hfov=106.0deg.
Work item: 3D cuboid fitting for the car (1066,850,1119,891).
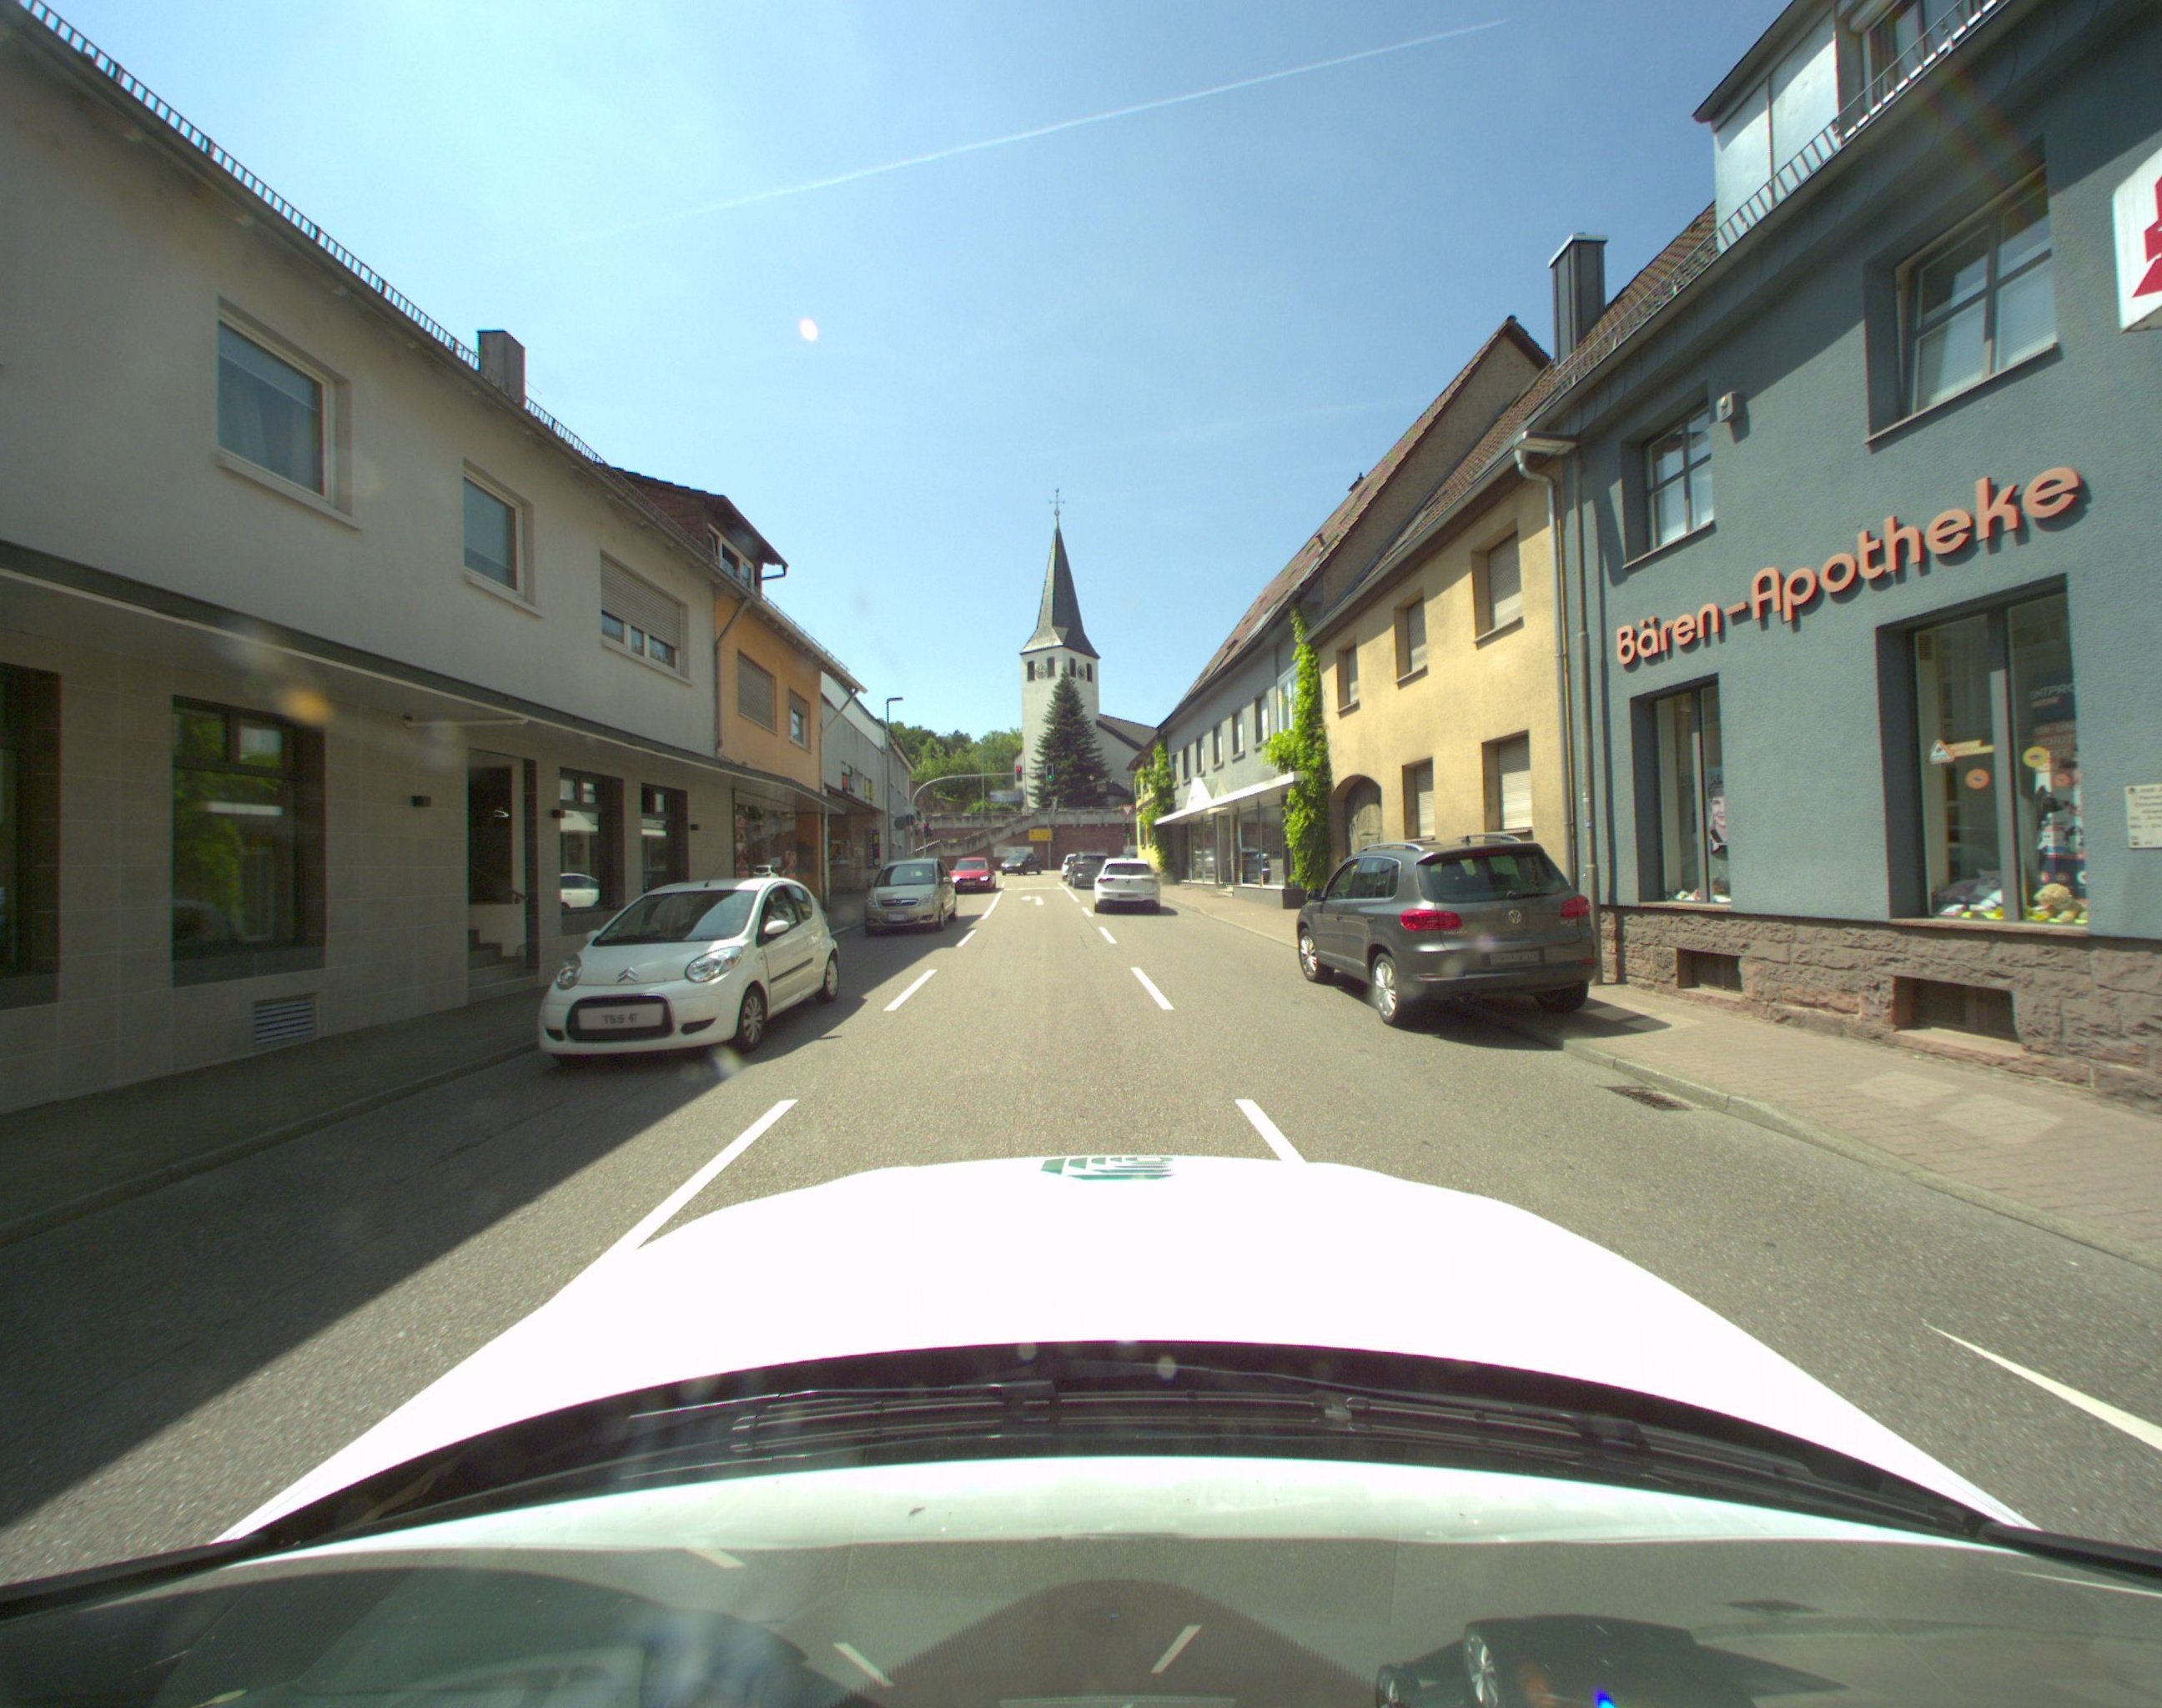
[{"bbox_3d":[0.446,0.686,36.597,1.946,1.582,4.319,-1,2,-5],"label":"car"}]

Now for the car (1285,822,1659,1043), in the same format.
[{"bbox_3d":[3.735,0.655,8.757,1.987,1.708,4.100,-3,0,0],"label":"car"}]

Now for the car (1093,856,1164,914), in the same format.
[{"bbox_3d":[1.251,0.795,22.747,1.776,1.458,3.864,-1,0,1],"label":"car"}]

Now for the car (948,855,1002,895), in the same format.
[{"bbox_3d":[-4.424,0.842,34.624,1.713,1.408,4.283,-3,1,-1],"label":"car"}]

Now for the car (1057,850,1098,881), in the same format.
[{"bbox_3d":[-0.235,0.613,46.147,1.946,1.582,4.319,-1,2,-5],"label":"car"}]

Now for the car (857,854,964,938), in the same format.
[{"bbox_3d":[-3.832,0.874,18.889,1.675,1.617,3.818,-3,1,-2],"label":"car"}]

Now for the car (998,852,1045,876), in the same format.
[{"bbox_3d":[-3.939,0.629,54.400,1.704,1.422,3.838,-2,1,18],"label":"car"}]

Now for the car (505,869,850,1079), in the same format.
[{"bbox_3d":[-3.554,0.941,7.916,1.592,1.455,3.445,-3,0,-1],"label":"car"}]
